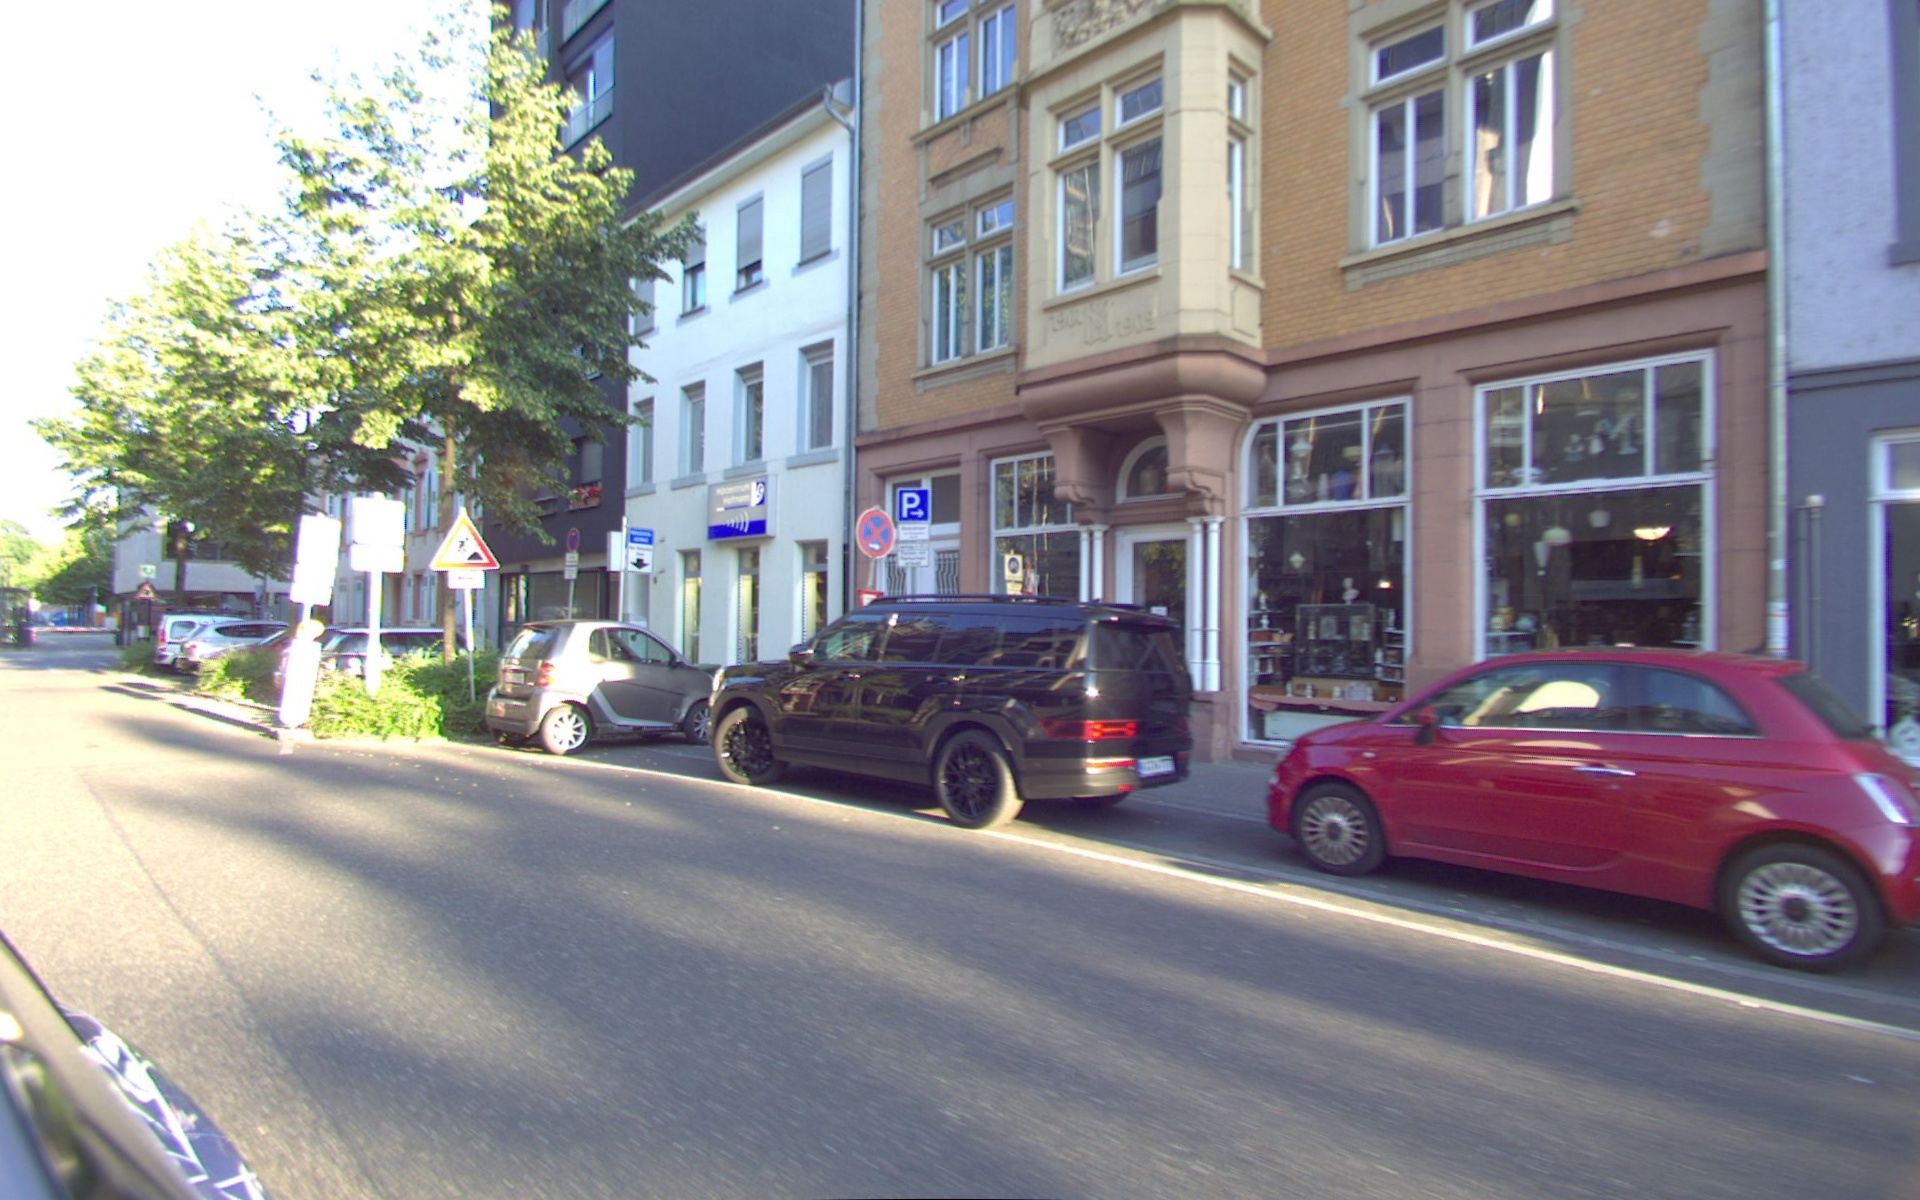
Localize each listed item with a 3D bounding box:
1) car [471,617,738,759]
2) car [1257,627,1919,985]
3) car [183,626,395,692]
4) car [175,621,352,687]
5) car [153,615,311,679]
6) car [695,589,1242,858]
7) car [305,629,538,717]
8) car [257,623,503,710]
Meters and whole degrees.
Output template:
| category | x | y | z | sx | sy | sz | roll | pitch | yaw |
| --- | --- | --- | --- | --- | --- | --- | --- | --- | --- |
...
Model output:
| category | x | y | z | sx | sy | sz | roll | pitch | yaw |
| --- | --- | --- | --- | --- | --- | --- | --- | --- | --- |
| car | -4.334 | 1.056 | 12.518 | 1.572 | 1.532 | 2.664 | -3 | -5 | 42 |
| car | 3.800 | 0.961 | 6.047 | 1.753 | 1.526 | 3.487 | 4 | -4 | -43 |
| car | -16.896 | 1.448 | 25.644 | 1.762 | 1.528 | 4.162 | -1 | -2 | 43 |
| car | -18.771 | 1.400 | 27.354 | 3.778 | 1.597 | 1.744 | 1 | -1 | -41 |
| car | -22.287 | 1.420 | 31.036 | 3.763 | 1.863 | 1.703 | 2 | -2 | -41 |
| car | -0.146 | 0.865 | 8.874 | 4.701 | 1.741 | 1.884 | -1 | -3 | 42 |
| car | -9.496 | 1.219 | 17.962 | 3.355 | 1.402 | 1.689 | 1 | -2 | -42 |
| car | -11.251 | 1.220 | 19.783 | 3.847 | 1.529 | 1.858 | 1 | -2 | -43 |
